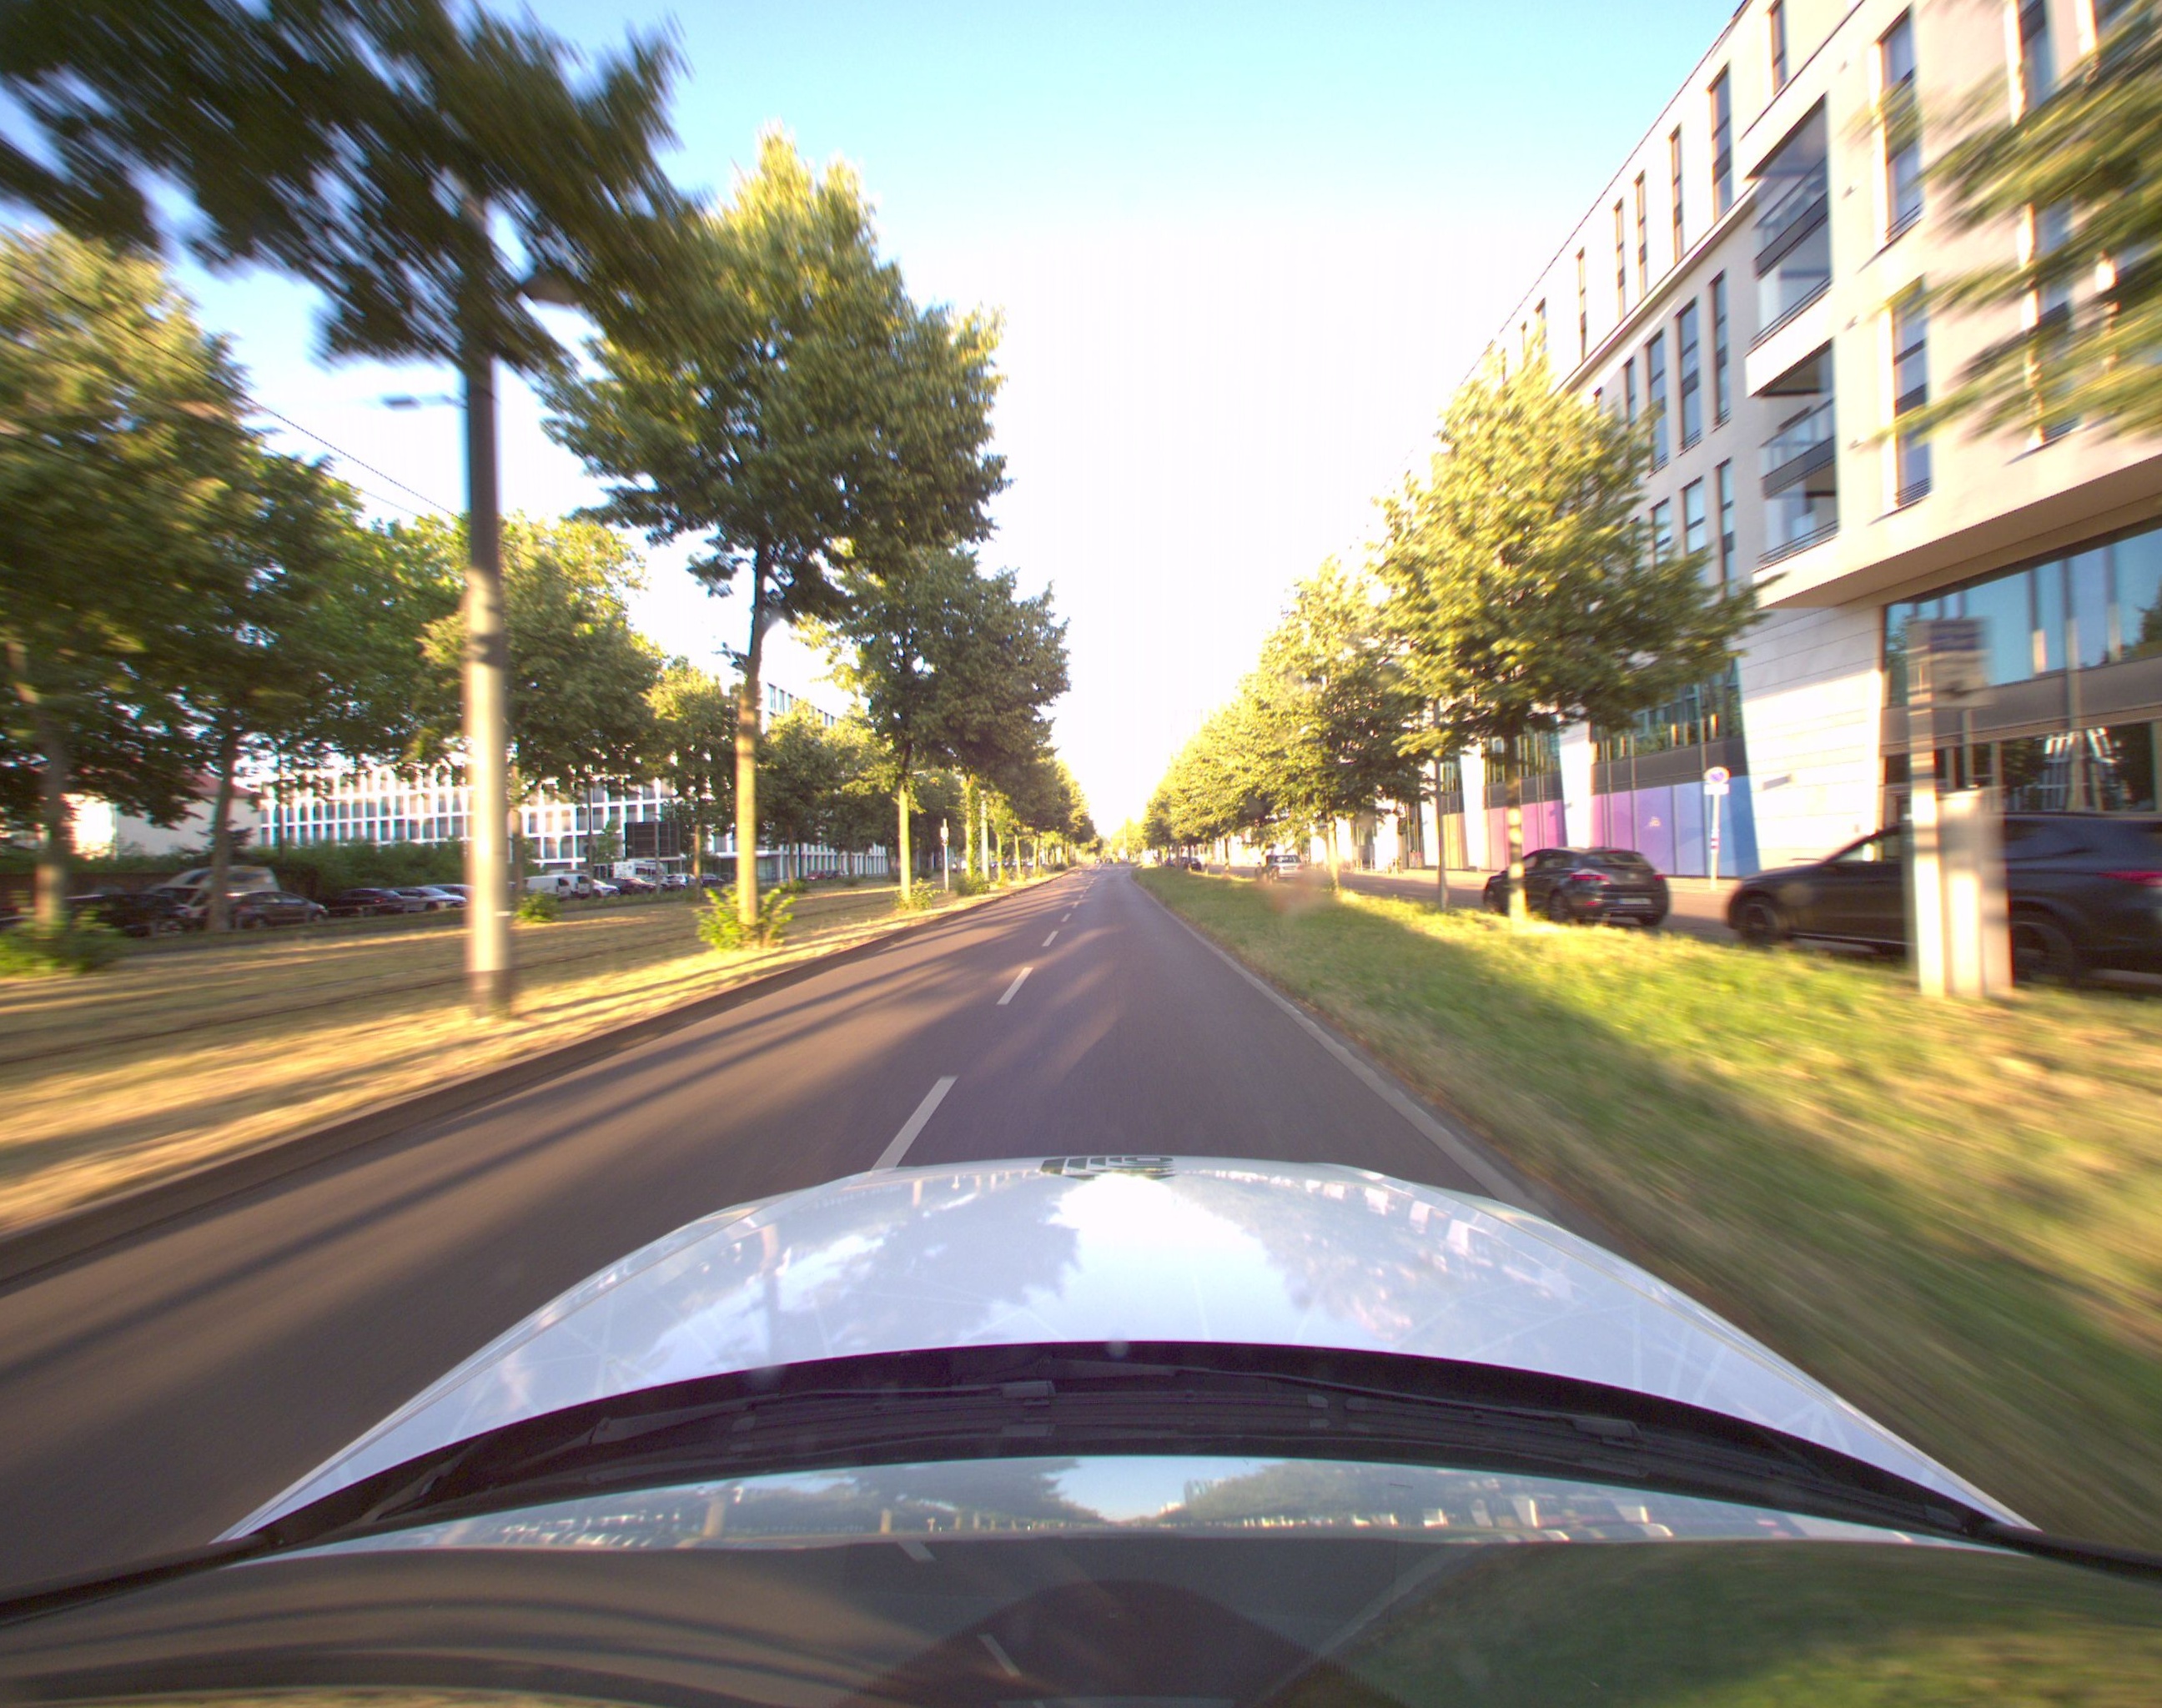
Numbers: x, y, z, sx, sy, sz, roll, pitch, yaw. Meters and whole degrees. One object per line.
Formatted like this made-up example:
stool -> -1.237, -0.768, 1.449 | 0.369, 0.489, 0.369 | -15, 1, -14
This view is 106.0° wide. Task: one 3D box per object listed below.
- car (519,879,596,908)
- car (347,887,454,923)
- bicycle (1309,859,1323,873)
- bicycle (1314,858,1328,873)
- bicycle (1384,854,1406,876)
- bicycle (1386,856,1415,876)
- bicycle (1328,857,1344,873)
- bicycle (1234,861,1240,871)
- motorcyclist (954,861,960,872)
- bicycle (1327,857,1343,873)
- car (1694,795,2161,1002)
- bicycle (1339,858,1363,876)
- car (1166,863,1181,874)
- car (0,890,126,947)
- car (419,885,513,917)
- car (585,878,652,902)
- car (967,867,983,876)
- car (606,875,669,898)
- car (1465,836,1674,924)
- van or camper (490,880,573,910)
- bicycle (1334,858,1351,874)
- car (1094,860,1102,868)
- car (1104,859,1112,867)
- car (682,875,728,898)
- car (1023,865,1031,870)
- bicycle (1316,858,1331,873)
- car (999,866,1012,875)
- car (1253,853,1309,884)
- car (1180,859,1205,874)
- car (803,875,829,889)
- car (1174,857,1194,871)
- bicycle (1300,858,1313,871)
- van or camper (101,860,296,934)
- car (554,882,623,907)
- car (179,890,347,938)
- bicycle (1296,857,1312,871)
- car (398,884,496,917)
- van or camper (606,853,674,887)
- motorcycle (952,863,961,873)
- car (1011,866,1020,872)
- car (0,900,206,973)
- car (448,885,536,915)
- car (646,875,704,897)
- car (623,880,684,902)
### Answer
car -> -36.566, 2.751, 56.947 | 3.971, 1.844, 2.013 | -2, -1, 2
car -> -35.365, 2.616, 42.387 | 3.969, 1.640, 1.924 | -2, -1, 3
bicycle -> 18.034, 0.908, 62.481 | 0.531, 1.061, 1.858 | -2, -1, 2
bicycle -> 18.655, 0.886, 63.415 | 0.531, 1.061, 1.858 | -4, -1, 2
bicycle -> 17.604, 0.610, 45.750 | 0.536, 1.164, 1.782 | -4, -1, 2
bicycle -> 17.946, 0.682, 45.775 | 0.533, 1.061, 1.850 | -4, -1, -11
bicycle -> 17.645, 0.736, 56.361 | 0.531, 1.061, 1.858 | -4, -1, 2
bicycle -> 19.062, 1.407, 99.188 | 0.567, 1.124, 1.840 | -4, -1, 13
motorcyclist -> -16.229, 1.668, 106.448 | 0.678, 1.375, 0.804 | -2, -1, 1
bicycle -> 18.356, 0.781, 58.903 | 0.531, 1.061, 1.858 | -4, -1, 2
car -> 9.364, 0.369, 8.797 | 1.946, 1.623, 4.821 | 0, -1, 1
bicycle -> 17.267, 0.841, 52.098 | 0.533, 1.061, 1.850 | -4, -1, -11
car -> 12.736, 2.008, 112.239 | 1.718, 1.530, 4.269 | -1, -1, 1
car -> -36.335, 2.217, 28.103 | 1.986, 1.750, 4.000 | -2, -1, 1
car -> -36.261, 2.753, 48.077 | 3.976, 1.640, 1.921 | -2, -1, -2
car -> -35.491, 2.722, 62.617 | 3.976, 1.640, 1.921 | -2, -1, -2
car -> -18.000, 2.924, 138.433 | 1.911, 1.508, 4.288 | -2, -1, 1
car -> -35.410, 2.600, 65.096 | 3.976, 1.640, 1.921 | -2, -1, -2
car -> 9.426, 0.456, 16.179 | 1.717, 1.501, 4.234 | -1, 0, 2
van or camper -> -36.290, 2.684, 53.877 | 3.986, 1.791, 1.994 | -2, -1, -9
bicycle -> 17.361, 0.784, 54.148 | 0.531, 1.061, 1.858 | -4, -1, 2
car -> 4.665, 2.764, 228.110 | 2.080, 2.014, 4.000 | -2, 0, 1
car -> 7.102, 2.436, 211.657 | 1.986, 2.014, 4.000 | -2, 0, 1
car -> -35.414, 3.048, 76.849 | 1.986, 2.014, 4.932 | -2, -1, 1
car -> -15.029, 3.719, 226.049 | 1.770, 1.411, 3.708 | -2, -1, 0
bicycle -> 17.853, 0.841, 59.988 | 0.531, 1.061, 1.858 | -4, -1, 2
car -> -14.268, 3.038, 154.065 | 1.878, 1.578, 4.182 | -2, -1, 1
car -> 10.340, 0.731, 42.434 | 1.802, 1.501, 4.826 | -2, 0, 1
car -> 11.733, 1.325, 86.250 | 1.937, 1.549, 4.810 | -2, -1, 0
car -> -32.382, 3.365, 99.536 | 1.852, 1.582, 3.494 | -2, -1, 3
car -> 11.751, 1.129, 93.363 | 1.848, 1.530, 4.484 | -1, -1, 1
bicycle -> 18.116, 0.831, 65.503 | 0.531, 1.061, 1.858 | -4, -1, 2
van or camper -> -36.547, 1.691, 34.020 | 2.078, 2.735, 5.494 | -2, -1, 0
car -> -36.061, 2.954, 59.682 | 3.964, 1.640, 1.927 | -2, -1, 8
car -> -30.054, 2.158, 30.128 | 1.984, 1.486, 4.005 | -2, -1, 5
bicycle -> 17.327, 0.791, 63.343 | 0.533, 1.061, 1.776 | -4, -1, -7
car -> -35.142, 2.556, 45.218 | 3.970, 1.640, 1.924 | -2, -1, 3
van or camper -> -43.352, 1.549, 80.286 | 2.697, 3.085, 6.271 | -2, -1, 5
motorcycle -> -16.233, 1.793, 106.376 | 0.679, 1.336, 2.345 | -2, -1, 1
car -> -14.287, 3.256, 177.962 | 1.651, 1.332, 4.529 | -2, -1, 0
car -> -30.015, 2.410, 24.553 | 1.986, 1.750, 4.791 | -2, -1, 1
car -> -36.746, 2.872, 50.871 | 3.976, 1.640, 1.921 | -2, -1, -2
car -> -34.811, 2.716, 69.865 | 3.976, 1.640, 1.921 | -2, -1, -2
car -> -35.403, 3.068, 67.483 | 3.976, 1.640, 1.921 | -2, -1, -2
